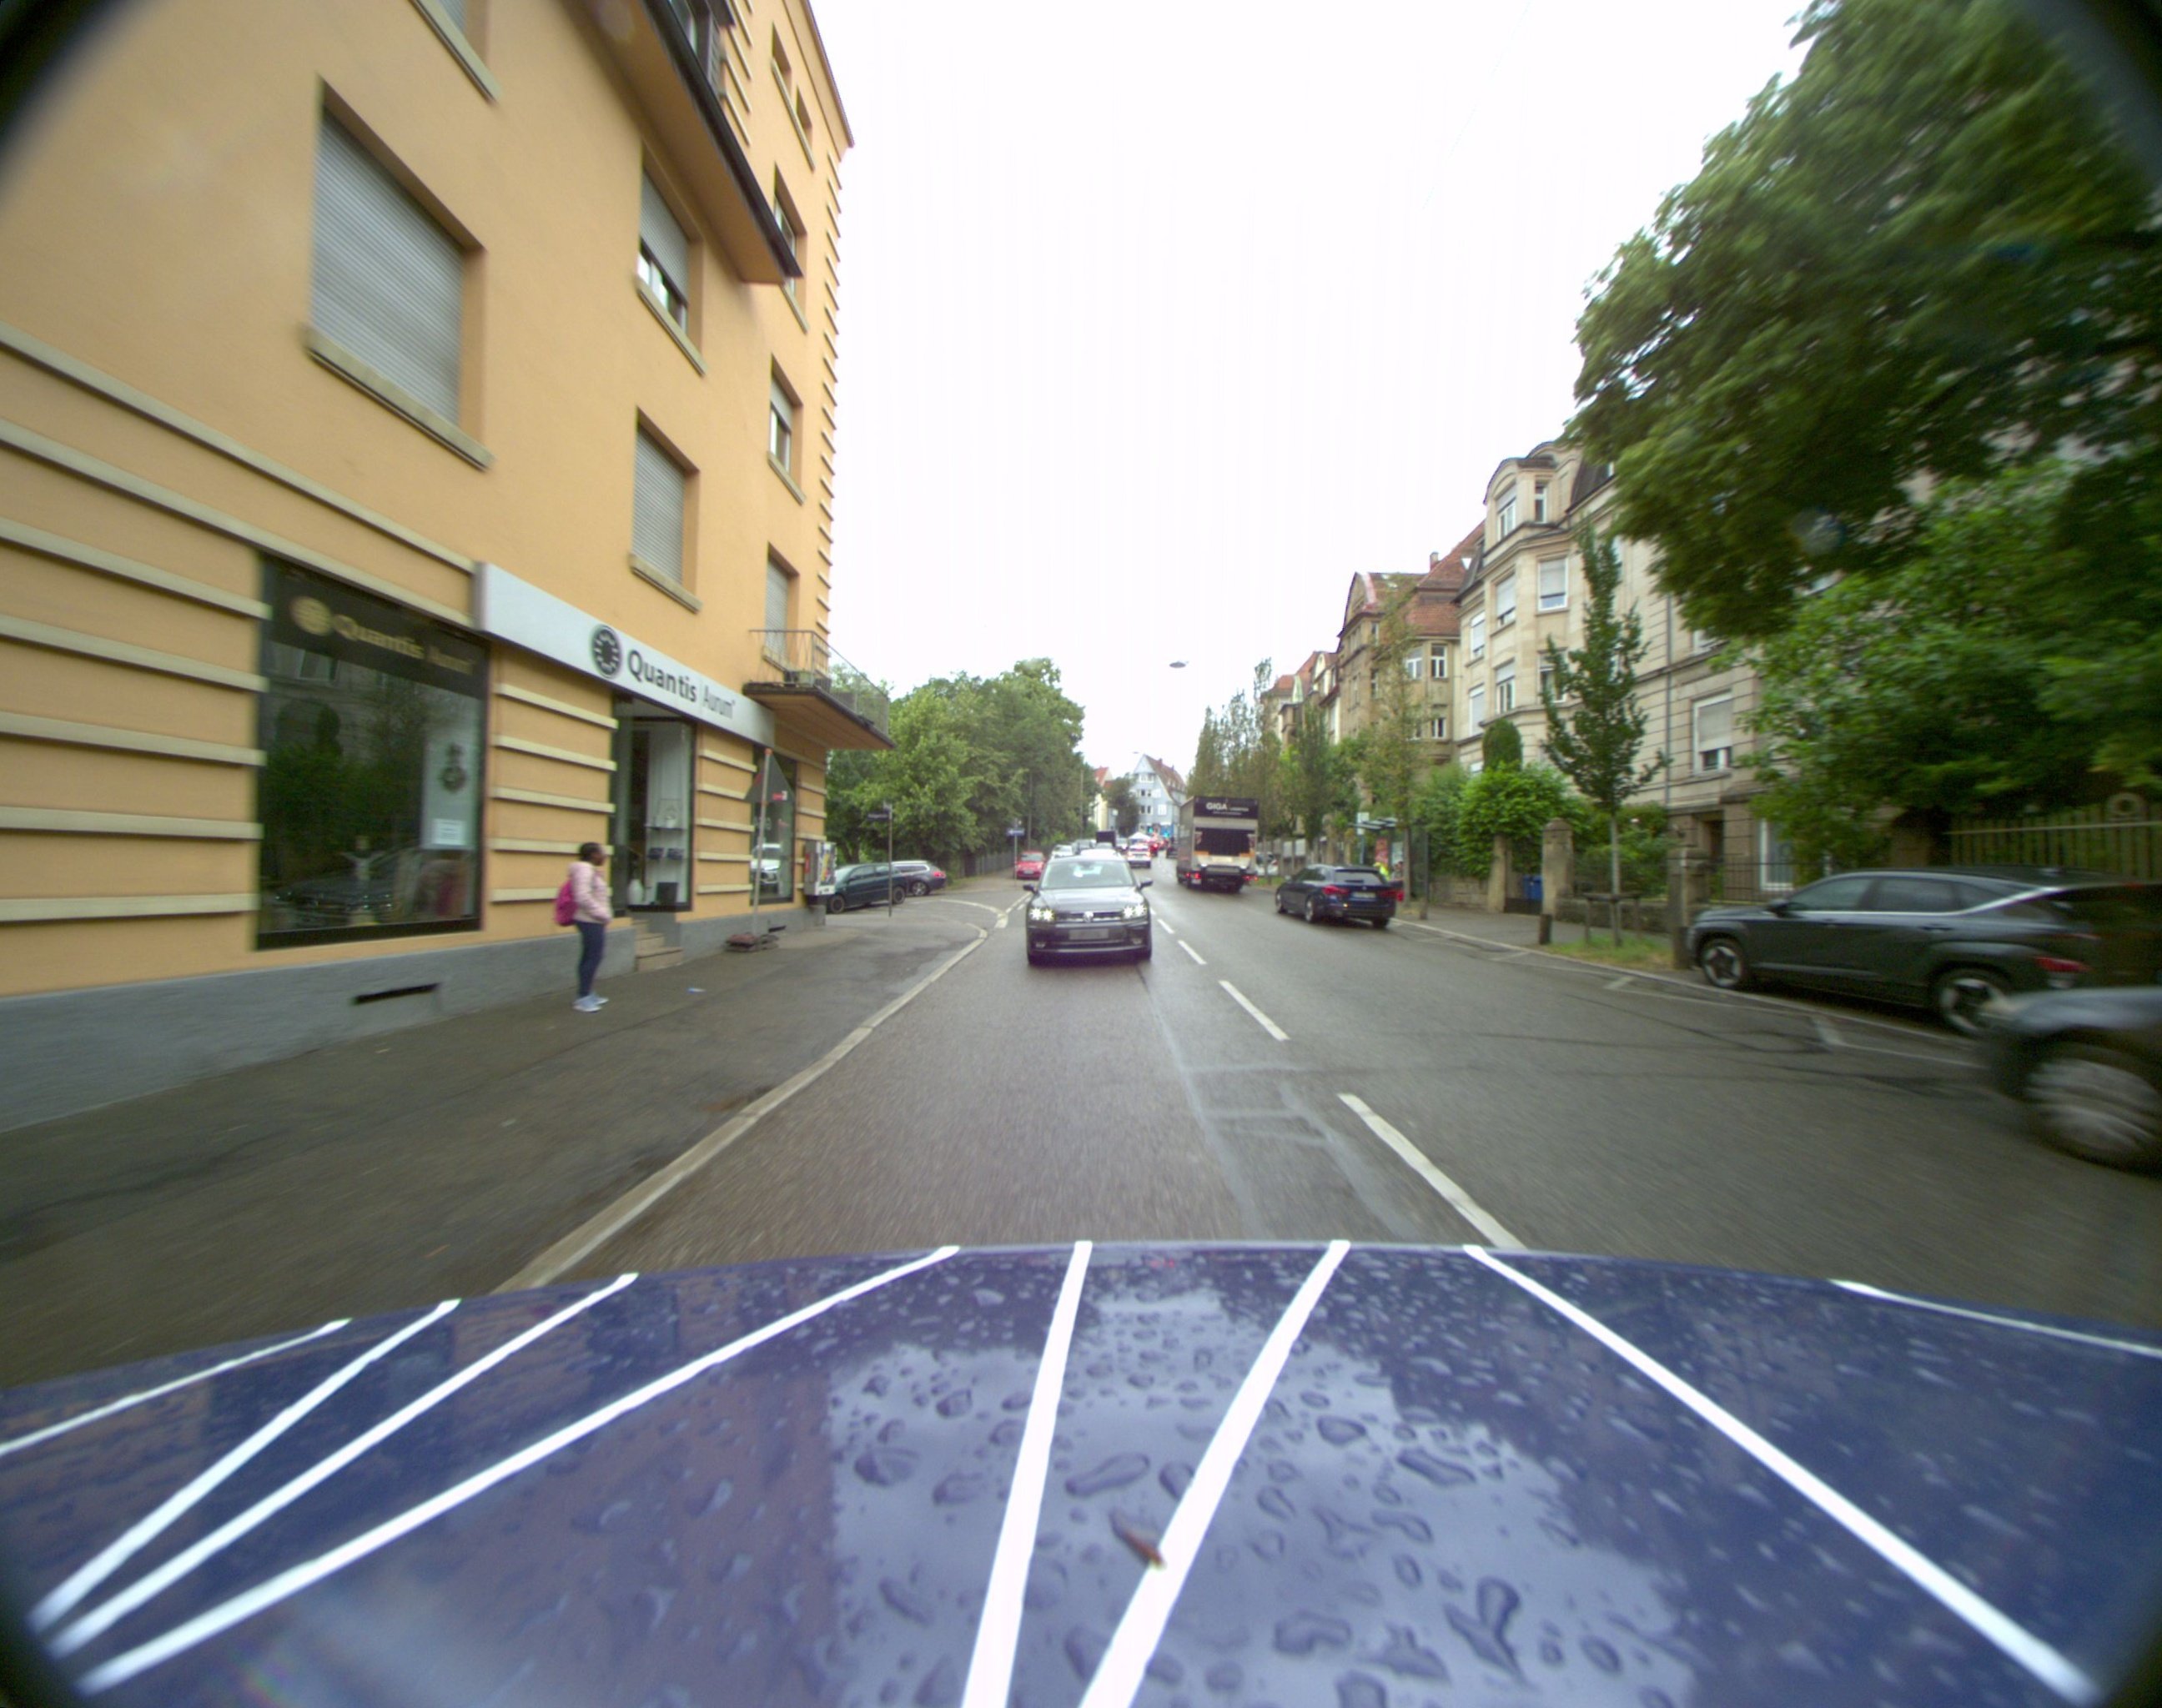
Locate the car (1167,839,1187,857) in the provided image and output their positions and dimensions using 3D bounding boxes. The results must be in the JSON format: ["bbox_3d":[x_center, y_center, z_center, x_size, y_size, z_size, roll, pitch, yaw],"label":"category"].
[{"bbox_3d":[9.293,-0.576,73.807,1.747,1.509,3.869,3,3,7],"label":"car"}]

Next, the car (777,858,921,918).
[{"bbox_3d":[-7.361,1.039,24.501,1.850,1.461,4.116,-2,3,33],"label":"car"}]

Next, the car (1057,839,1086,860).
[{"bbox_3d":[-0.808,-0.433,66.046,1.924,1.642,4.884,4,2,5],"label":"car"}]

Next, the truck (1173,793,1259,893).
[{"bbox_3d":[5.842,-0.488,34.432,2.654,3.832,9.308,2,1,3],"label":"truck"}]

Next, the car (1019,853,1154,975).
[{"bbox_3d":[0.114,0.824,13.052,1.860,1.641,5.194,0,1,1],"label":"car"}]

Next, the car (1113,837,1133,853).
[{"bbox_3d":[4.570,-0.969,82.141,1.924,1.641,4.136,-1,1,6],"label":"car"}]

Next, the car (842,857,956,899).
[{"bbox_3d":[-7.534,0.977,31.800,4.280,1.489,2.002,-3,0,-4],"label":"car"}]

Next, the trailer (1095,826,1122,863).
[{"bbox_3d":[2.355,-0.809,64.462,1.966,3.024,2.365,-1,1,7],"label":"trailer"}]

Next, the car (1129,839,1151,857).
[{"bbox_3d":[5.319,-0.537,67.842,1.715,1.471,4.115,3,1,7],"label":"car"}]

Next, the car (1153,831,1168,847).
[{"bbox_3d":[9.700,-1.844,92.123,1.655,1.698,4.114,3,3,7],"label":"car"}]

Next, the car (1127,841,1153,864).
[{"bbox_3d":[4.259,-0.145,54.753,1.776,1.509,4.100,1,1,4],"label":"car"}]

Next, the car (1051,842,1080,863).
[{"bbox_3d":[-1.196,-0.161,60.641,1.745,1.455,4.884,4,2,4],"label":"car"}]

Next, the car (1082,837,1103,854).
[{"bbox_3d":[1.251,-0.950,82.046,1.924,1.552,4.012,4,2,5],"label":"car"}]

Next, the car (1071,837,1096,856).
[{"bbox_3d":[0.288,-0.815,75.665,1.971,1.642,4.816,4,3,6],"label":"car"}]

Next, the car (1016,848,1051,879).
[{"bbox_3d":[-2.557,0.476,41.722,1.613,1.493,3.957,1,1,1],"label":"car"}]

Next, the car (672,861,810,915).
[{"bbox_3d":[-10.626,1.015,23.988,1.704,1.483,3.643,-1,0,27],"label":"car"}]

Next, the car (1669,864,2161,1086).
[{"bbox_3d":[8.968,0.999,8.234,1.746,1.550,4.300,-3,1,-2],"label":"car"}]

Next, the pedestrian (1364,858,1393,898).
[{"bbox_3d":[10.963,0.891,28.021,0.768,1.424,0.759,1,2,1],"label":"pedestrian"}]

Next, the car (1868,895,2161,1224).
[{"bbox_3d":[5.988,0.987,2.669,1.776,1.508,4.592,1,-1,1],"label":"car"}]

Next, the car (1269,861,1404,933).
[{"bbox_3d":[6.337,0.997,19.478,1.776,1.459,4.747,3,1,0],"label":"car"}]

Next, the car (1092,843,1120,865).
[{"bbox_3d":[2.055,-0.058,61.536,1.924,1.641,4.136,-1,1,7],"label":"car"}]

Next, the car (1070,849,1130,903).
[{"bbox_3d":[0.654,0.707,27.102,1.925,1.641,4.485,-1,1,1],"label":"car"}]

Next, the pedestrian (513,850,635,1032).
[{"bbox_3d":[-4.702,0.764,7.100,0.769,1.581,0.711,0,2,-18],"label":"pedestrian"}]

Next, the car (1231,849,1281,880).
[{"bbox_3d":[9.759,0.542,42.682,1.746,1.550,4.300,-2,1,-1],"label":"car"}]

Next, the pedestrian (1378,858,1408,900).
[{"bbox_3d":[11.014,0.867,26.859,0.768,1.424,0.649,1,2,3],"label":"pedestrian"}]

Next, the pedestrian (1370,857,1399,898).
[{"bbox_3d":[10.958,0.842,27.456,0.768,1.424,0.649,1,2,3],"label":"pedestrian"}]

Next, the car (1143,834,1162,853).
[{"bbox_3d":[7.076,-1.054,75.084,1.655,1.698,4.114,3,3,7],"label":"car"}]

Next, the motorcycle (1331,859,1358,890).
[{"bbox_3d":[11.455,0.873,33.042,0.657,1.230,1.763,1,1,4],"label":"motorcycle"}]

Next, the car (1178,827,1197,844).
[{"bbox_3d":[16.485,-2.880,117.446,2.133,2.492,5.414,3,1,14],"label":"car"}]
